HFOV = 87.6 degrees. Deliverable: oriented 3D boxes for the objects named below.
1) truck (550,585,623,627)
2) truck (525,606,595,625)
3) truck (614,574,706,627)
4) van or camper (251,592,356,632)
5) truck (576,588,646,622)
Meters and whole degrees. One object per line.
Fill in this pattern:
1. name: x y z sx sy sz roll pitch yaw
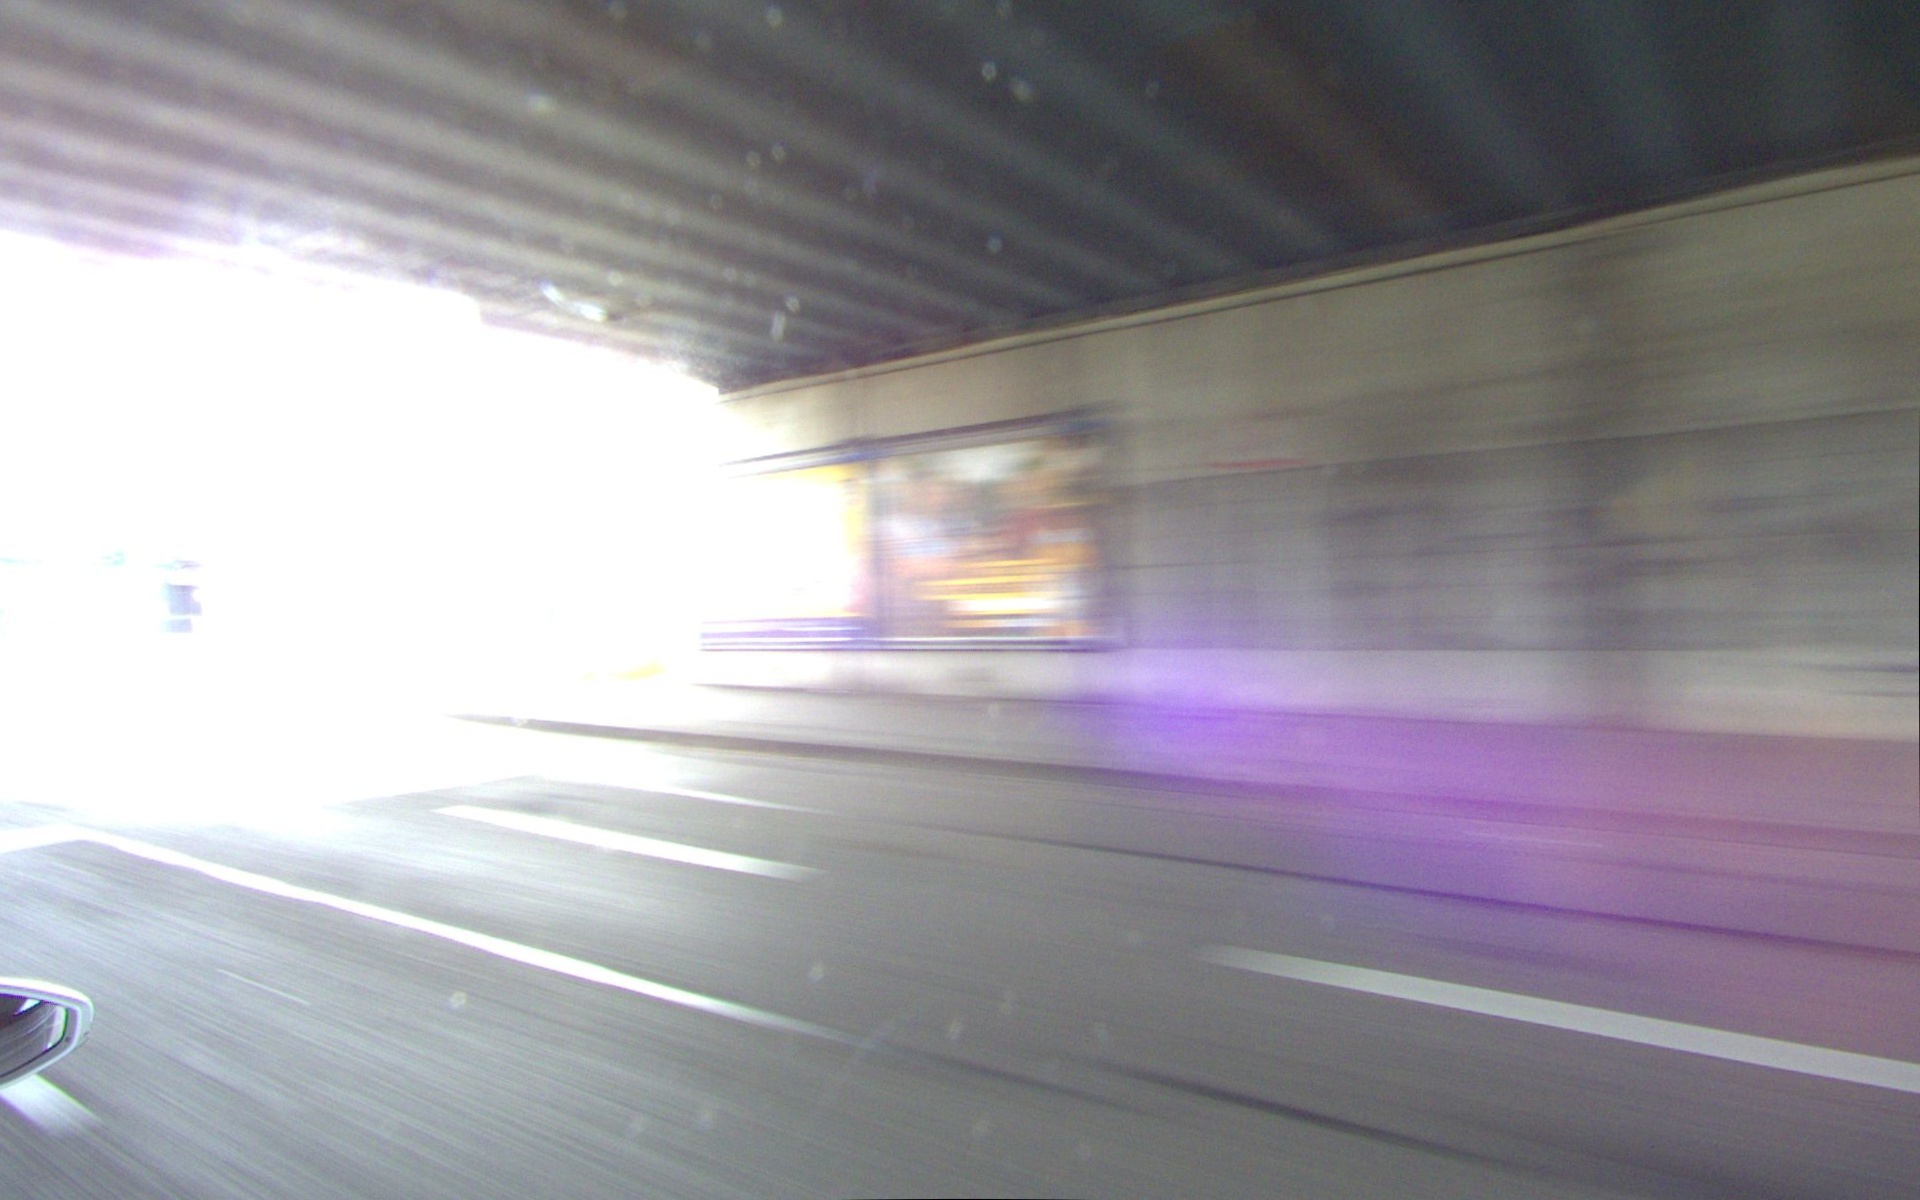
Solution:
1. truck: -25.519 0.464 68.573 2.087 2.749 4.319 -2 -1 30
2. truck: -27.576 1.072 69.137 1.852 1.235 4.321 -2 -2 28
3. truck: -19.941 0.117 66.910 2.668 3.297 5.915 -2 -2 25
4. van or camper: -38.035 0.742 58.263 2.085 2.200 6.250 -1 -1 -2
5. truck: -23.393 0.365 67.237 1.948 2.110 4.323 -2 -1 27
